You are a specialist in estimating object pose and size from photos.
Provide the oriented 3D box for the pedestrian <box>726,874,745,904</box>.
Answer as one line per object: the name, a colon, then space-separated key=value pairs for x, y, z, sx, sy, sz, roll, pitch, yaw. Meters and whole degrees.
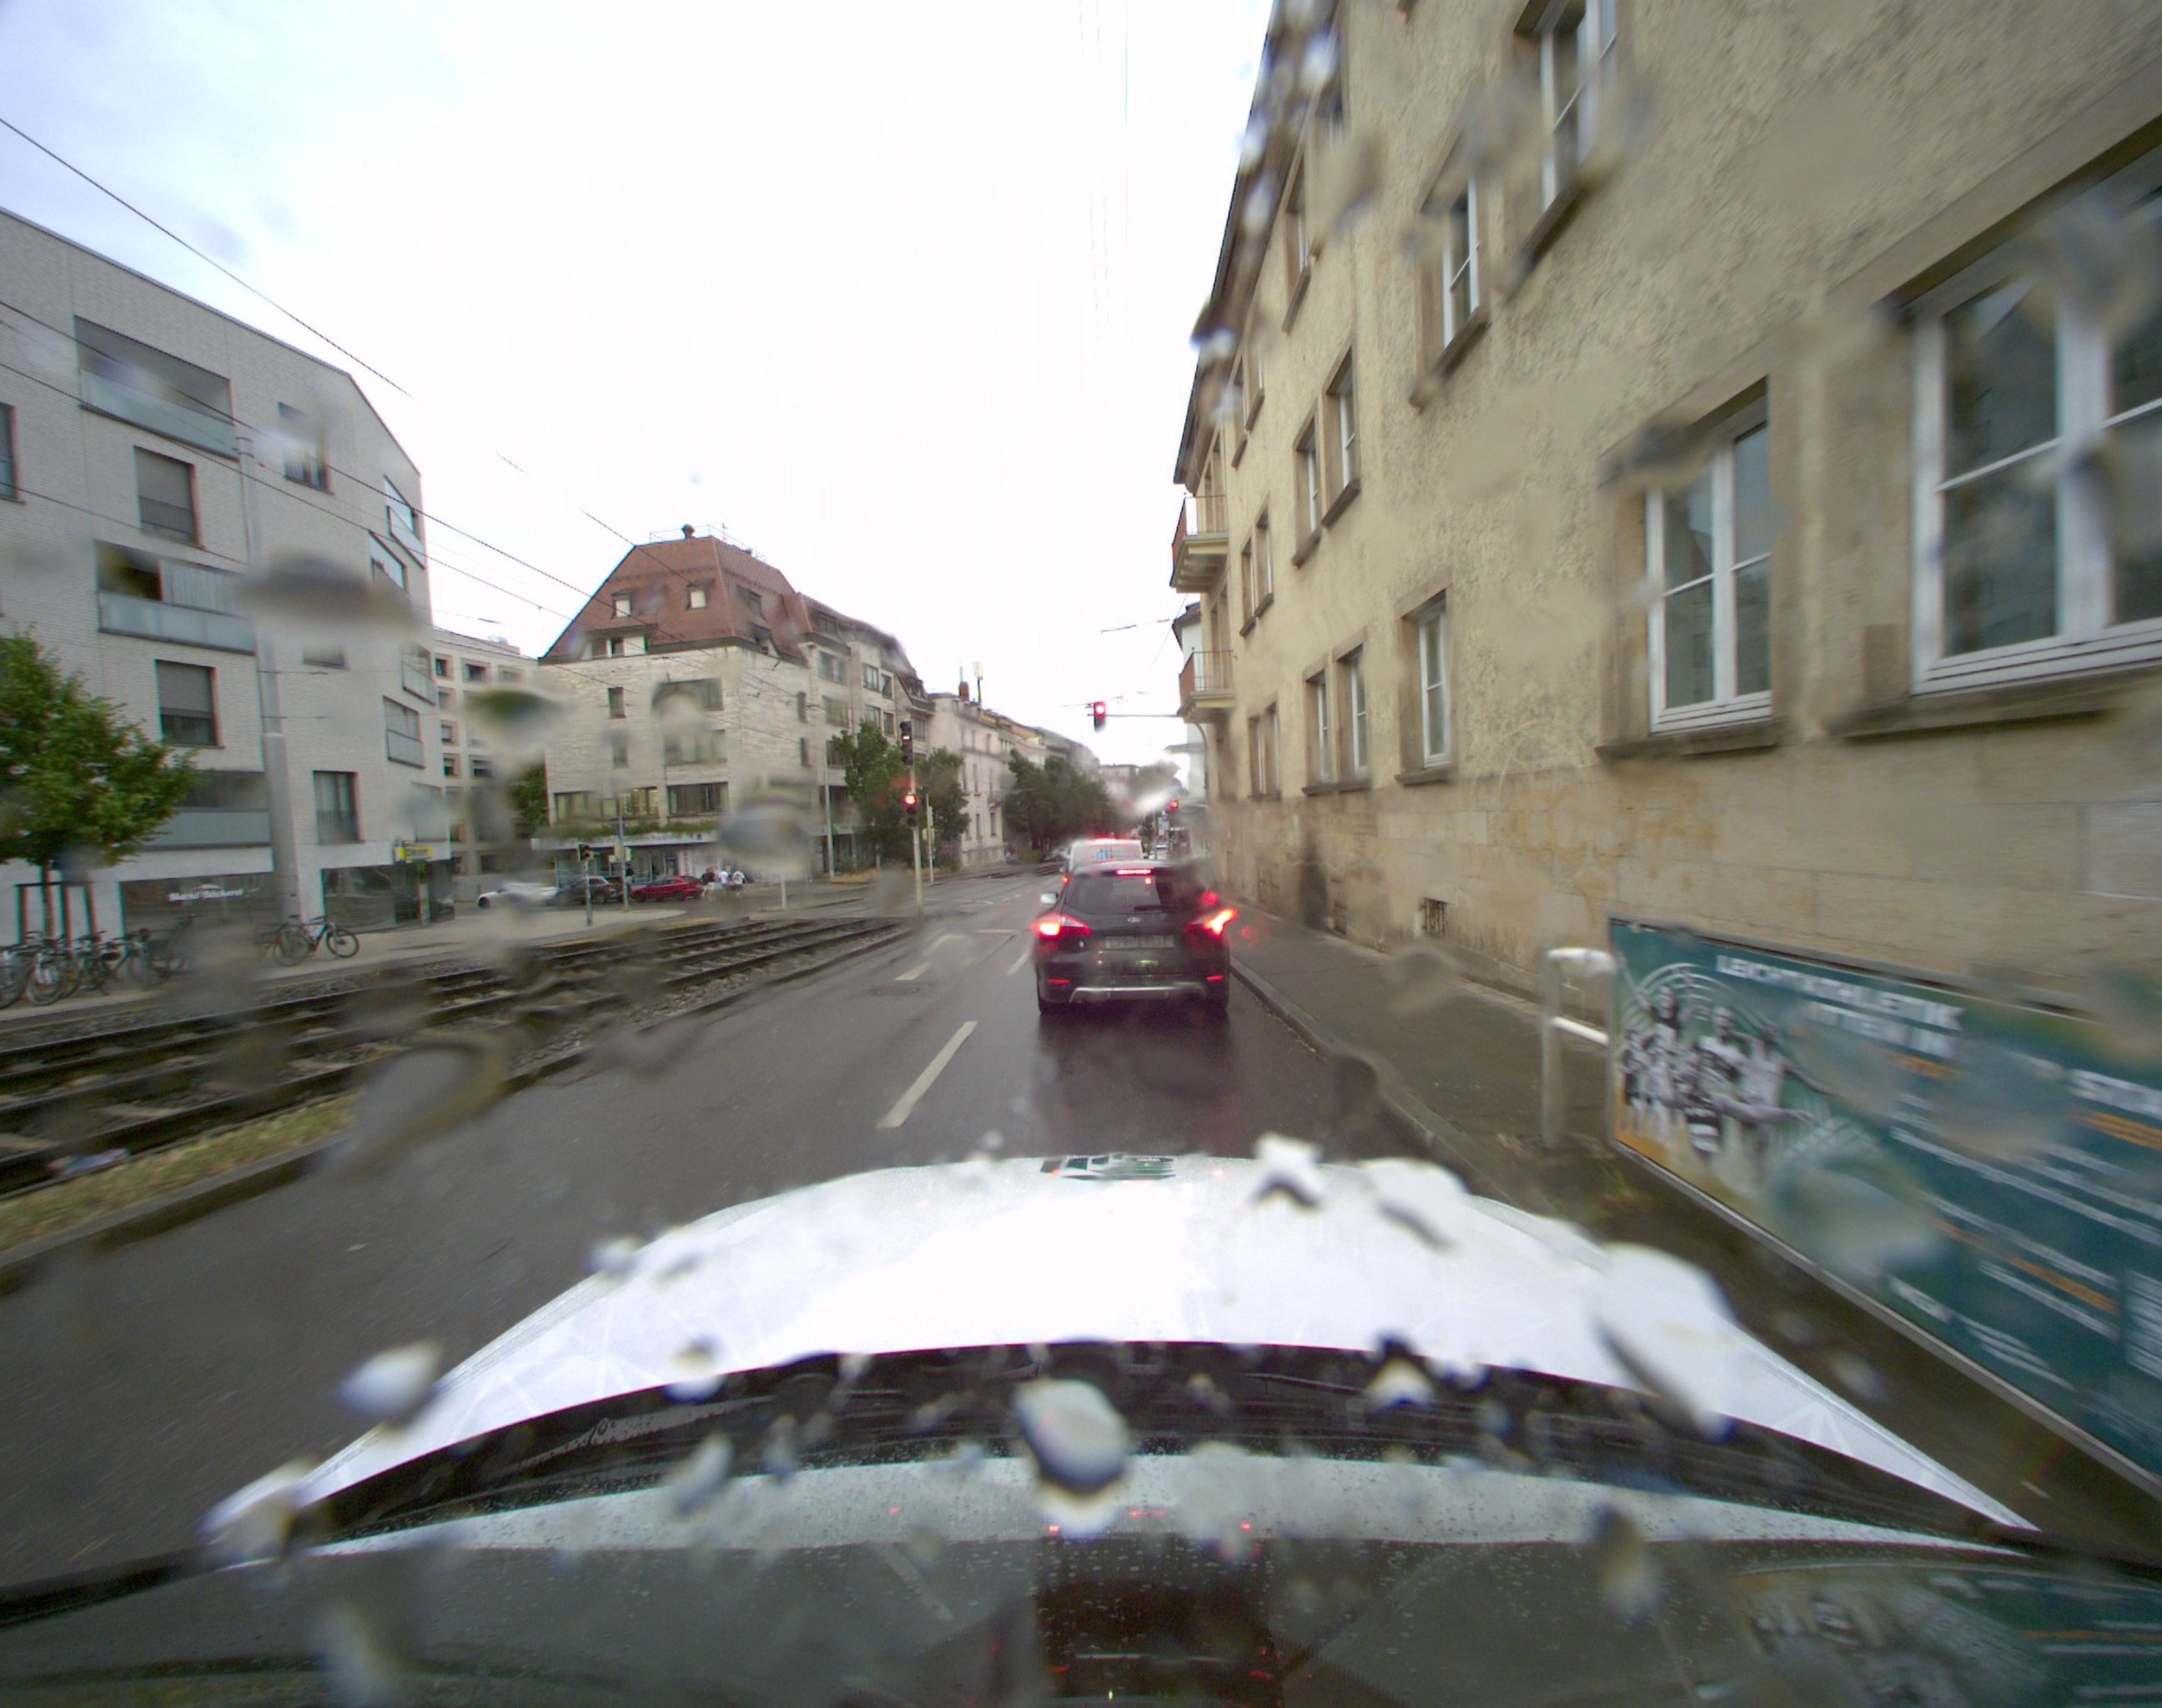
pedestrian: x=-18.104 y=1.814 z=42.719 sx=0.643 sy=1.549 sz=0.686 roll=-1 pitch=-1 yaw=10

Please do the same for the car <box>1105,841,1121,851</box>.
car: x=5.625 y=-1.324 z=141.319 sx=1.843 sy=1.637 sz=4.952 roll=-2 pitch=-1 yaw=12

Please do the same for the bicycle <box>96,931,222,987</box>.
bicycle: x=-17.940 y=2.036 z=15.868 sx=1.782 sy=0.917 sz=0.386 roll=-4 pitch=0 yaw=-7

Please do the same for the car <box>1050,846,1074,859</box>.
car: x=-2.303 y=-0.220 z=101.818 sx=1.843 sy=1.548 sz=4.737 roll=-2 pitch=-1 yaw=12

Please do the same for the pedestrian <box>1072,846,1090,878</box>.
pedestrian: x=0.011 y=0.458 z=46.949 sx=0.926 sy=1.830 sz=0.960 roll=0 pitch=-1 yaw=4

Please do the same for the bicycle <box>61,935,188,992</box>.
bicycle: x=-17.635 y=2.020 z=15.028 sx=1.779 sy=0.918 sz=0.387 roll=-2 pitch=-1 yaw=-3

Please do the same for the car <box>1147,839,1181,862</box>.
car: x=5.920 y=-0.218 z=57.656 sx=1.789 sy=1.455 sz=4.602 roll=-4 pitch=-1 yaw=12

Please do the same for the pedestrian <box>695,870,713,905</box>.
pedestrian: x=-20.563 y=1.820 z=44.421 sx=0.643 sy=1.842 sz=0.686 roll=-1 pitch=-1 yaw=10

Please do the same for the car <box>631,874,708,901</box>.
car: x=-22.733 y=1.869 z=44.983 sx=3.664 sy=1.318 sz=1.601 roll=-3 pitch=-1 yaw=17

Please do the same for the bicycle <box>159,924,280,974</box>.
bicycle: x=-18.093 y=1.986 z=17.133 sx=1.787 sy=0.918 sz=0.385 roll=-1 pitch=-1 yaw=-16

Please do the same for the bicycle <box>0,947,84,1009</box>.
bicycle: x=-17.089 y=1.986 z=12.997 sx=1.779 sy=0.918 sz=0.387 roll=-1 pitch=-1 yaw=-3

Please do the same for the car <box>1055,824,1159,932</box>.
car: x=0.551 y=0.488 z=18.212 sx=1.981 sy=2.060 sz=4.645 roll=-1 pitch=-1 yaw=1

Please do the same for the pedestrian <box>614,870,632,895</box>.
pedestrian: x=-27.976 y=1.744 z=49.784 sx=0.677 sy=1.549 sz=0.651 roll=-1 pitch=-1 yaw=10

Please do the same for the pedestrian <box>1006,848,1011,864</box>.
pedestrian: x=-7.540 y=0.200 z=84.862 sx=0.466 sy=1.652 sz=0.582 roll=0 pitch=-1 yaw=0

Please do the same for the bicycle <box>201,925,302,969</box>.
bicycle: x=-18.092 y=2.029 z=17.774 sx=1.778 sy=0.876 sz=0.387 roll=-1 pitch=-1 yaw=-1

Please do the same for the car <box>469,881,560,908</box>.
car: x=-32.538 y=2.319 z=46.807 sx=4.458 sy=1.318 sz=1.599 roll=-2 pitch=-1 yaw=11

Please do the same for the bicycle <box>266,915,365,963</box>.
bicycle: x=-17.857 y=1.983 z=19.015 sx=1.779 sy=0.980 sz=0.440 roll=-3 pitch=-1 yaw=-3

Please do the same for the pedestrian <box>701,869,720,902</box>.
pedestrian: x=-19.637 y=1.664 z=43.168 sx=0.643 sy=1.749 sz=0.686 roll=-1 pitch=-1 yaw=10

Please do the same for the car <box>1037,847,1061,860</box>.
car: x=-3.706 y=-0.034 z=95.586 sx=1.682 sy=1.377 sz=4.736 roll=-2 pitch=-1 yaw=12

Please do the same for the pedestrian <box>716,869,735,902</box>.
pedestrian: x=-18.797 y=1.635 z=43.040 sx=0.643 sy=1.724 sz=0.686 roll=-1 pitch=-1 yaw=10

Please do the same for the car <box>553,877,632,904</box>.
car: x=-27.488 y=2.054 z=45.861 sx=3.670 sy=1.318 sz=1.599 roll=-2 pitch=-1 yaw=11

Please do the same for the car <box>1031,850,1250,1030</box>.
car: x=0.571 y=0.748 z=8.950 sx=1.835 sy=1.507 sz=4.001 roll=-1 pitch=-1 yaw=2

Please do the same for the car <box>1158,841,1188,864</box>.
car: x=7.306 y=-0.111 z=64.136 sx=1.833 sy=1.632 sz=4.602 roll=-3 pitch=0 yaw=12
